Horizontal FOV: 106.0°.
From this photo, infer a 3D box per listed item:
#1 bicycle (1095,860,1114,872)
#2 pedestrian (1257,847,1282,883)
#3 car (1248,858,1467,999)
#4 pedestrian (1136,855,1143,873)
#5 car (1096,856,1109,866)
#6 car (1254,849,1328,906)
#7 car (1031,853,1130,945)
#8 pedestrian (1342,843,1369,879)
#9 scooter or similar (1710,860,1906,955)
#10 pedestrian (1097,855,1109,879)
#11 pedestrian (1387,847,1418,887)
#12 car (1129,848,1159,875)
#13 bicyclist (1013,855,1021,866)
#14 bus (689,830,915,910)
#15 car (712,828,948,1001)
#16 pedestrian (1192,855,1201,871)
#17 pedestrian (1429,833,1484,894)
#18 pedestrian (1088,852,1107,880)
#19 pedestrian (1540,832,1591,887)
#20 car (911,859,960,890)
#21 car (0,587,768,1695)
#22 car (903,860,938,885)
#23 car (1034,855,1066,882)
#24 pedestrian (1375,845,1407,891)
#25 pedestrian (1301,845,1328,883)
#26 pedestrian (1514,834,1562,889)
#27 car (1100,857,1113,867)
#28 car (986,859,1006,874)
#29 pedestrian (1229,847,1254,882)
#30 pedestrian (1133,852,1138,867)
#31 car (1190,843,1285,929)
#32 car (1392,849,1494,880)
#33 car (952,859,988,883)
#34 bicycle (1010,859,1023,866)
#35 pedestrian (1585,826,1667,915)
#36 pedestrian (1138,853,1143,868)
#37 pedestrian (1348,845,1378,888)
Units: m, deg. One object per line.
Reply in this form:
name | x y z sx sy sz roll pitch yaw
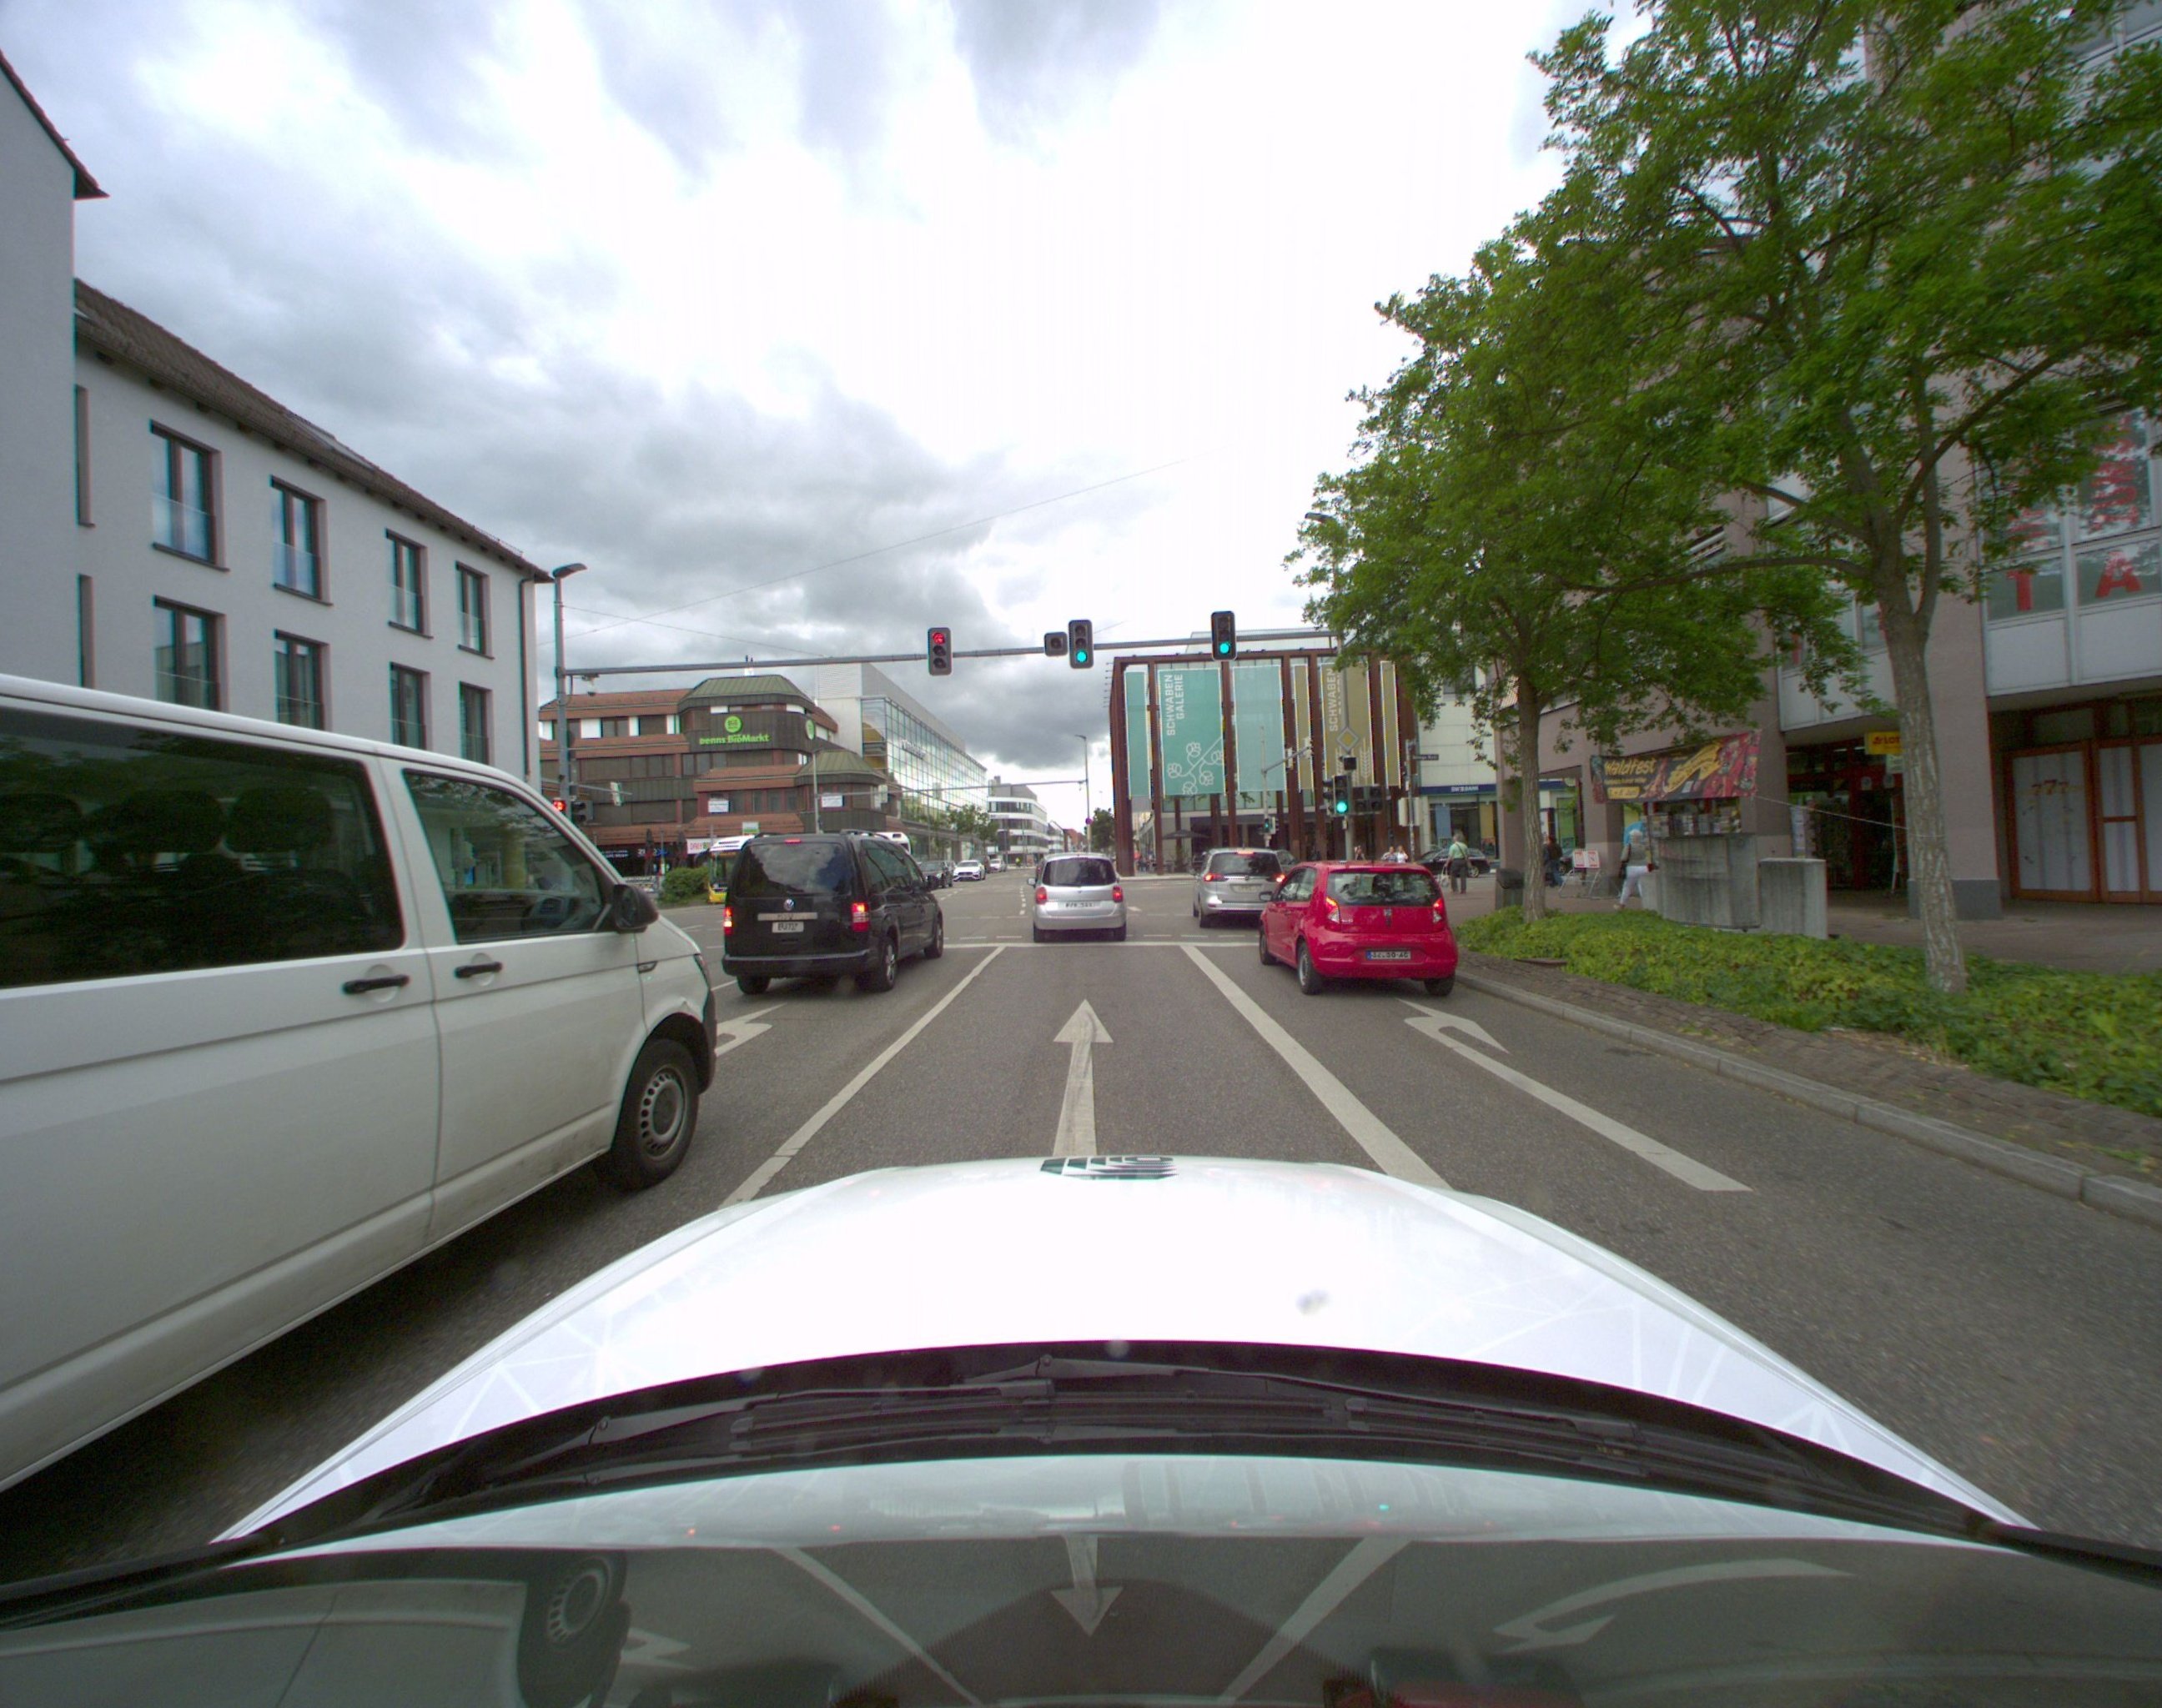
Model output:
bicycle | 2.018 1.032 70.877 1.553 0.992 0.753 -2 0 4
pedestrian | 9.182 0.514 39.665 0.876 1.681 1.120 -2 0 -2
car | 3.233 0.775 10.253 1.620 1.448 3.643 0 0 1
pedestrian | 4.151 0.718 57.311 0.445 1.220 0.607 -2 0 4
car | 3.285 1.045 121.904 1.870 1.509 4.002 0 0 2
car | 6.635 0.653 25.337 1.836 1.609 4.885 -1 0 19
car | 0.043 0.760 15.604 1.663 1.554 3.643 0 0 1
pedestrian | 13.744 0.339 40.836 0.876 1.767 1.120 -2 0 -2
scooter or similar | 9.212 0.642 10.437 0.471 1.087 1.877 -2 -1 -16
pedestrian | 1.293 0.752 48.008 0.598 1.420 0.583 -2 0 3
pedestrian | 13.261 0.528 33.633 0.819 1.595 1.038 -2 0 -2
car | 4.131 0.499 53.712 1.733 1.701 4.382 0 0 2
bicyclist | -10.202 1.057 130.040 1.011 1.660 0.925 0 -1 -27
bus | -13.910 0.603 42.605 2.959 3.327 12.381 -5 0 27
car | -3.016 0.642 10.869 1.702 1.820 4.571 0 0 0
pedestrian | 8.729 0.666 61.586 0.513 1.208 0.795 -2 1 -1
pedestrian | 10.984 0.271 23.881 1.052 1.715 1.110 -2 0 0
pedestrian | 1.023 0.714 49.250 0.861 1.646 0.685 -2 0 35
pedestrian | 14.423 0.164 24.275 0.828 1.584 1.057 -2 0 -3
car | -7.743 1.079 43.598 1.738 1.459 3.819 -3 0 1
car | -2.935 0.530 2.443 1.986 2.013 4.841 -1 0 1
car | -10.996 1.236 56.038 1.630 1.418 4.196 -4 1 -2
car | -1.813 0.858 48.828 1.663 1.554 3.643 0 0 1
pedestrian | 11.316 0.510 29.737 0.739 1.626 0.953 -2 0 -2
pedestrian | 11.281 0.474 39.405 0.876 1.767 1.120 -2 0 -2
pedestrian | 13.567 0.220 24.213 0.828 1.558 0.968 -2 0 -3
car | 3.645 1.087 115.154 1.870 1.335 4.002 0 0 2
car | -9.493 1.371 91.436 1.654 1.465 4.002 -3 0 2
pedestrian | 7.792 0.501 39.600 0.876 1.681 1.120 -2 0 -2
pedestrian | 5.948 0.606 88.423 0.425 1.549 0.481 -2 0 -1
car | 3.394 0.649 18.353 1.731 1.701 4.388 0 0 6
car | 17.591 0.510 39.665 4.161 1.404 1.800 -1 0 -2
car | -7.506 1.127 55.569 1.738 1.459 4.236 -3 0 1
bicycle | -10.270 1.365 130.172 1.011 1.018 3.103 0 -1 -26
pedestrian | 10.602 0.310 15.883 0.806 1.626 1.093 -3 0 -1
pedestrian | 6.499 0.711 88.488 0.425 1.549 0.481 -2 0 -1
pedestrian | 10.860 0.473 31.418 0.739 1.626 0.953 -2 0 -2
